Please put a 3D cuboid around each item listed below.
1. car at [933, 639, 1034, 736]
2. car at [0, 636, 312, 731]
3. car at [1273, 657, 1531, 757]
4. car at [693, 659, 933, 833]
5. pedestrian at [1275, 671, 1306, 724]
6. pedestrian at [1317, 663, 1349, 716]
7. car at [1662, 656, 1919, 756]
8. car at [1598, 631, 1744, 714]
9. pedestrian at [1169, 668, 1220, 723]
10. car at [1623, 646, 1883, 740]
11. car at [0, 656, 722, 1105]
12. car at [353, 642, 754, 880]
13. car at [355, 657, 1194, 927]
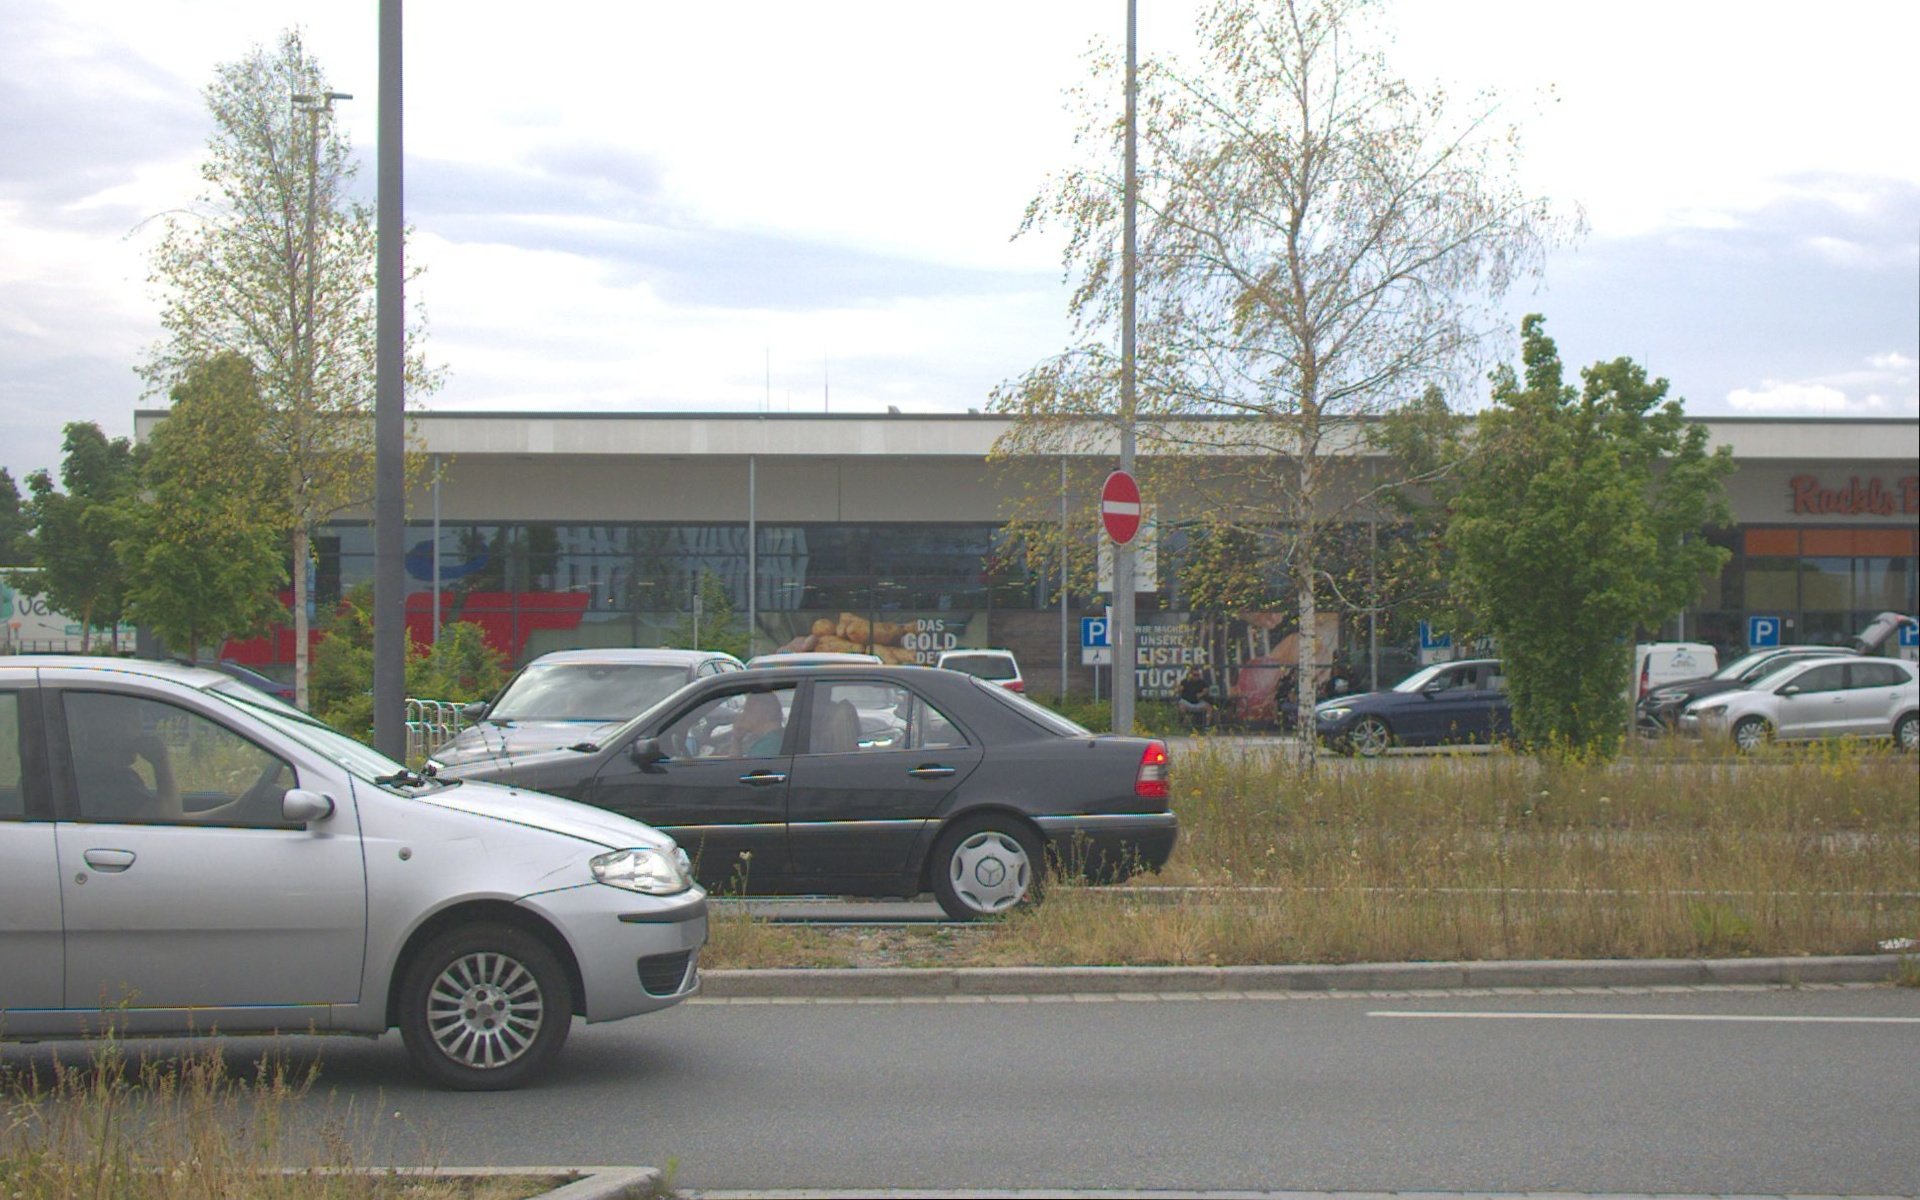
[{"bbox_3d":[0.464,1.616,64.559,1.824,1.694,4.233,0,0,1],"label":"car"},{"bbox_3d":[-13.759,1.432,58.969,5.007,1.552,2.000,1,-1,-5],"label":"car"},{"bbox_3d":[6.587,1.585,51.427,3.606,1.449,1.668,0,-1,-2],"label":"car"},{"bbox_3d":[-1.244,1.265,31.001,1.780,1.441,4.609,0,-1,2],"label":"car"},{"bbox_3d":[7.071,2.082,73.579,0.576,1.120,0.562,0,-1,-5],"label":"pedestrian"},{"bbox_3d":[7.882,1.893,72.634,0.576,1.120,0.562,0,-1,-5],"label":"pedestrian"},{"bbox_3d":[12.616,1.586,51.730,3.746,1.449,1.668,0,-1,-1],"label":"car"},{"bbox_3d":[13.440,1.350,65.203,1.993,1.503,4.000,0,-1,1],"label":"car"},{"bbox_3d":[5.049,2.050,73.950,0.970,1.150,1.133,0,-1,-3],"label":"pedestrian"},{"bbox_3d":[12.612,1.474,54.801,3.746,1.449,1.668,0,-1,-1],"label":"car"},{"bbox_3d":[-2.798,0.932,12.177,3.803,1.456,1.801,0,-1,-7],"label":"car"},{"bbox_3d":[-2.689,1.035,23.757,1.792,1.461,4.319,0,0,7],"label":"car"},{"bbox_3d":[-0.938,1.021,18.730,4.357,1.391,1.791,0,-2,2],"label":"car"}]
